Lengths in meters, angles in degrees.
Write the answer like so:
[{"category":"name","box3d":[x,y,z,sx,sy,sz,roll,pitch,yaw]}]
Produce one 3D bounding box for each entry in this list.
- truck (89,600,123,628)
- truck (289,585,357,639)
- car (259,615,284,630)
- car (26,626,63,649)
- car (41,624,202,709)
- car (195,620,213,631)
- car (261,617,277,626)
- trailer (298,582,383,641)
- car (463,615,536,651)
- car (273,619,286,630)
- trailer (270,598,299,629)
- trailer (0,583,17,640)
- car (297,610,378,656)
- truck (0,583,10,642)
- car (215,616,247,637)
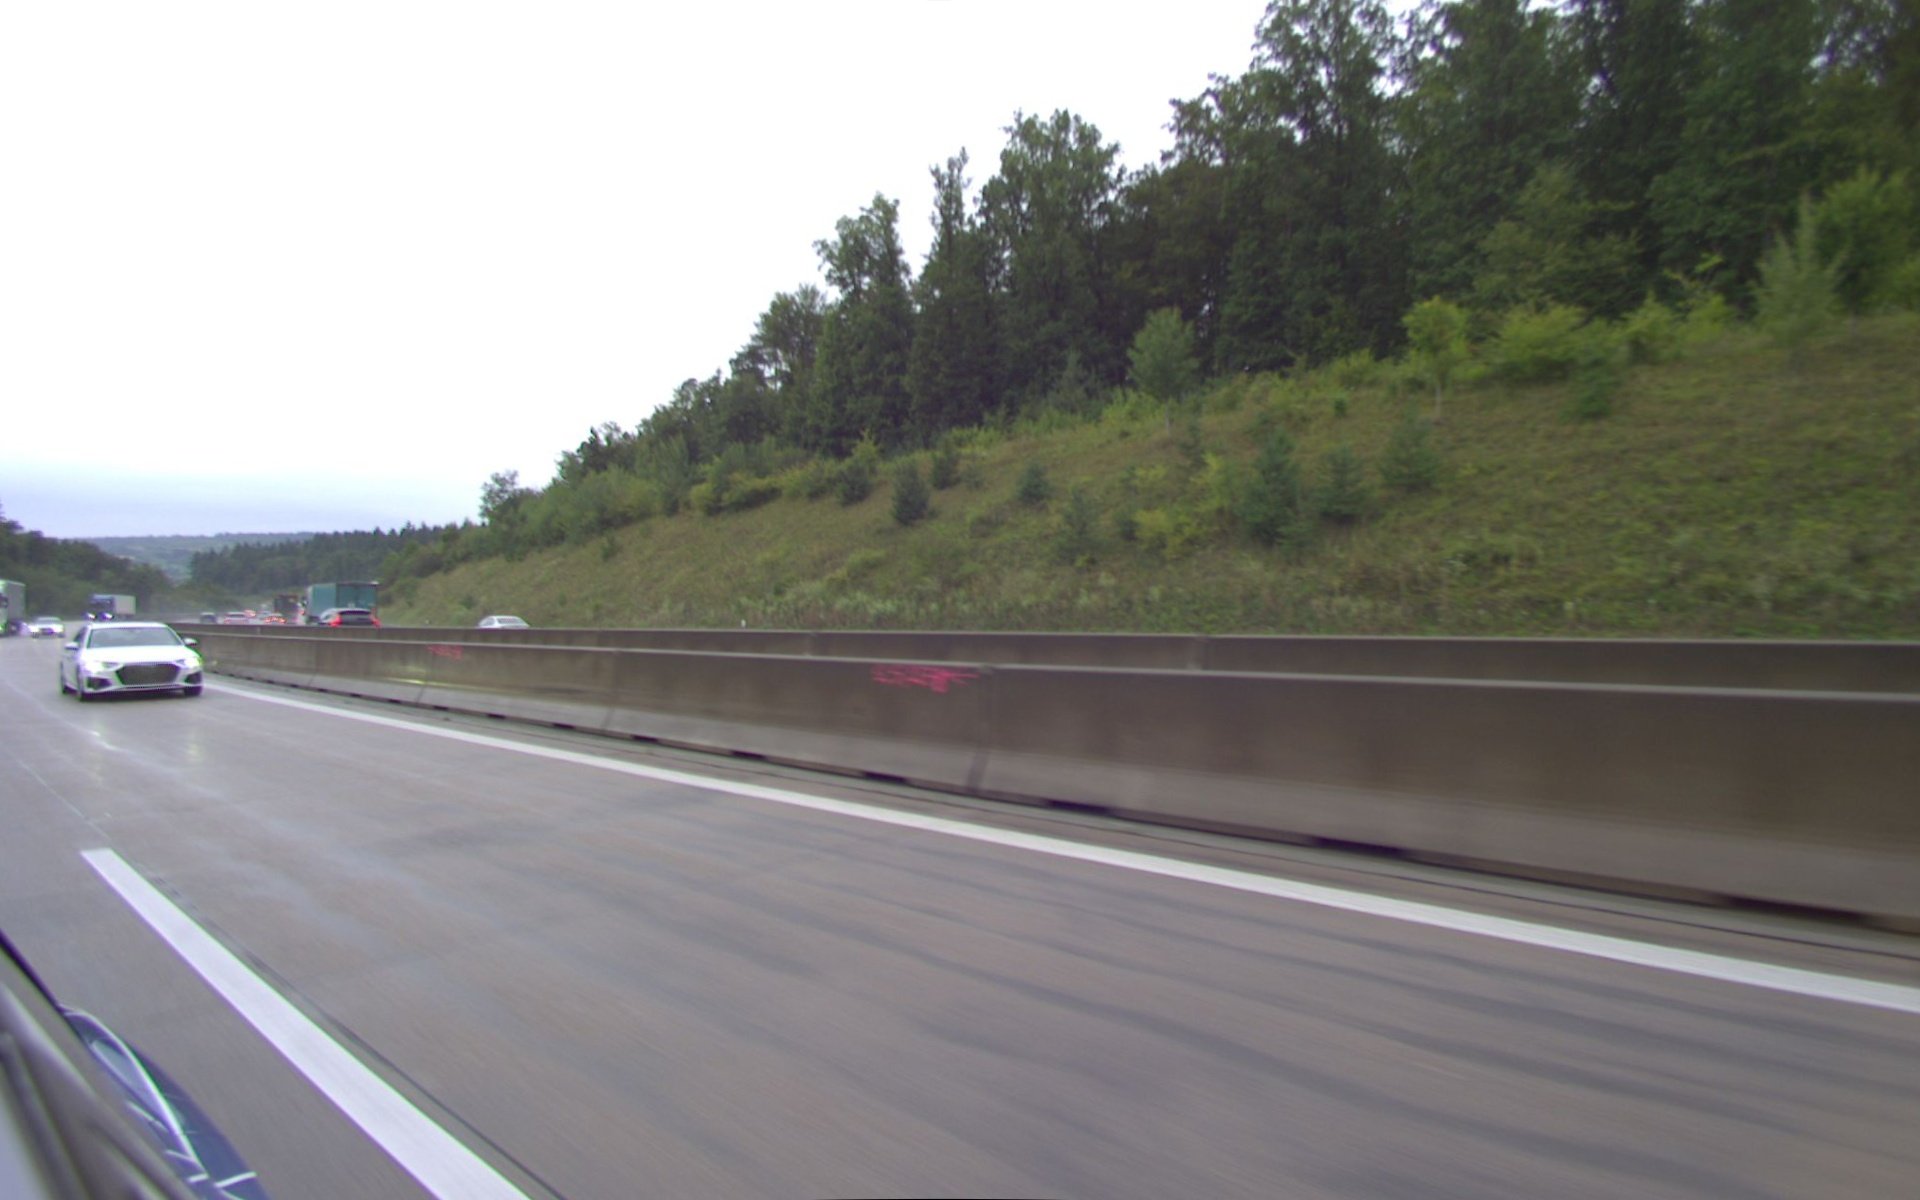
[{"category":"truck","box3d":[-133.350,2.239,158.051,2.693,4.183,8.646,-1,-1,-31]},{"category":"truck","box3d":[-48.425,0.947,76.829,2.873,3.918,7.368,0,-1,-45]},{"category":"car","box3d":[-73.586,2.384,108.121,1.710,1.504,4.005,1,-1,-42]},{"category":"car","box3d":[-65.350,2.658,72.191,1.824,1.494,4.452,0,-1,-44]},{"category":"car","box3d":[-16.425,1.208,19.723,4.933,1.418,1.694,-2,-1,42]},{"category":"car","box3d":[-100.586,3.410,134.654,1.709,1.504,4.008,1,-1,-39]},{"category":"car","box3d":[-121.536,3.758,177.944,1.966,1.597,4.786,0,-1,-31]},{"category":"trailer","box3d":[-44.782,0.854,72.985,2.873,3.918,11.044,0,-1,-44]},{"category":"car","box3d":[-21.767,1.529,47.797,4.245,1.588,1.711,-1,-1,44]},{"category":"car","box3d":[-131.943,4.757,196.322,1.967,2.029,4.010,0,-1,-35]},{"category":"trailer","box3d":[-91.748,1.838,137.291,2.888,3.990,13.497,0,-1,-35]},{"category":"trailer","box3d":[-73.388,0.996,76.337,2.646,4.071,13.725,-3,1,-41]},{"category":"car","box3d":[-25.511,1.322,41.412,4.760,1.790,1.711,-1,-1,44]},{"category":"truck","box3d":[-69.034,0.947,71.252,2.688,4.071,5.761,-3,1,-40]},{"category":"car","box3d":[-66.772,2.410,92.670,1.711,1.790,4.762,1,-1,-44]}]
